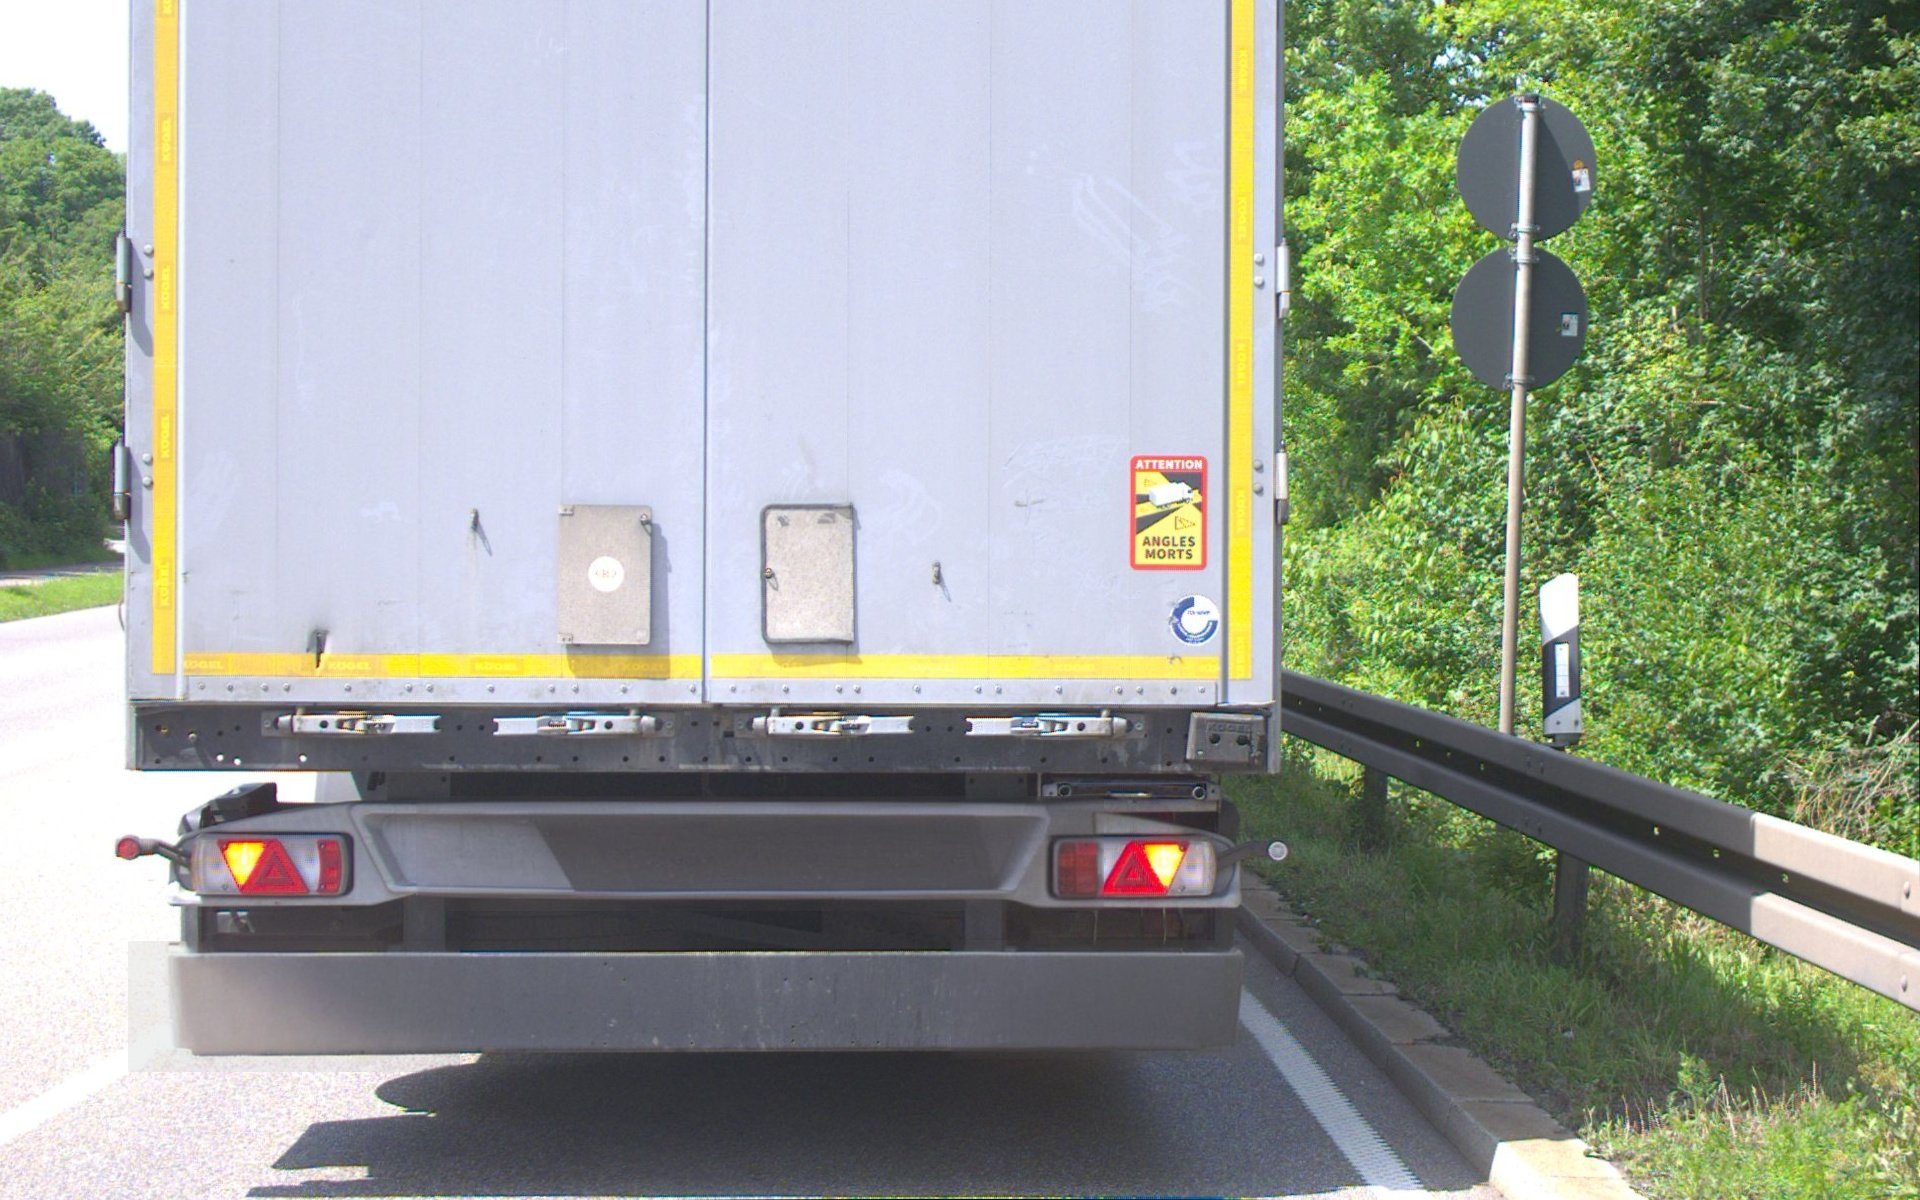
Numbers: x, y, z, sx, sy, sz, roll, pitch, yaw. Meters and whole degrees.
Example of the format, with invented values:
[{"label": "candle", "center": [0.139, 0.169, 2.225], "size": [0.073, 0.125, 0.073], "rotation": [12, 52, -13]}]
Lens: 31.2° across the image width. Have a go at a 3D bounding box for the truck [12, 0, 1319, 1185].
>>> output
[{"label": "truck", "center": [-0.759, -0.892, 13.268], "size": [2.757, 4.016, 11.925], "rotation": [1, 1, -1]}]
